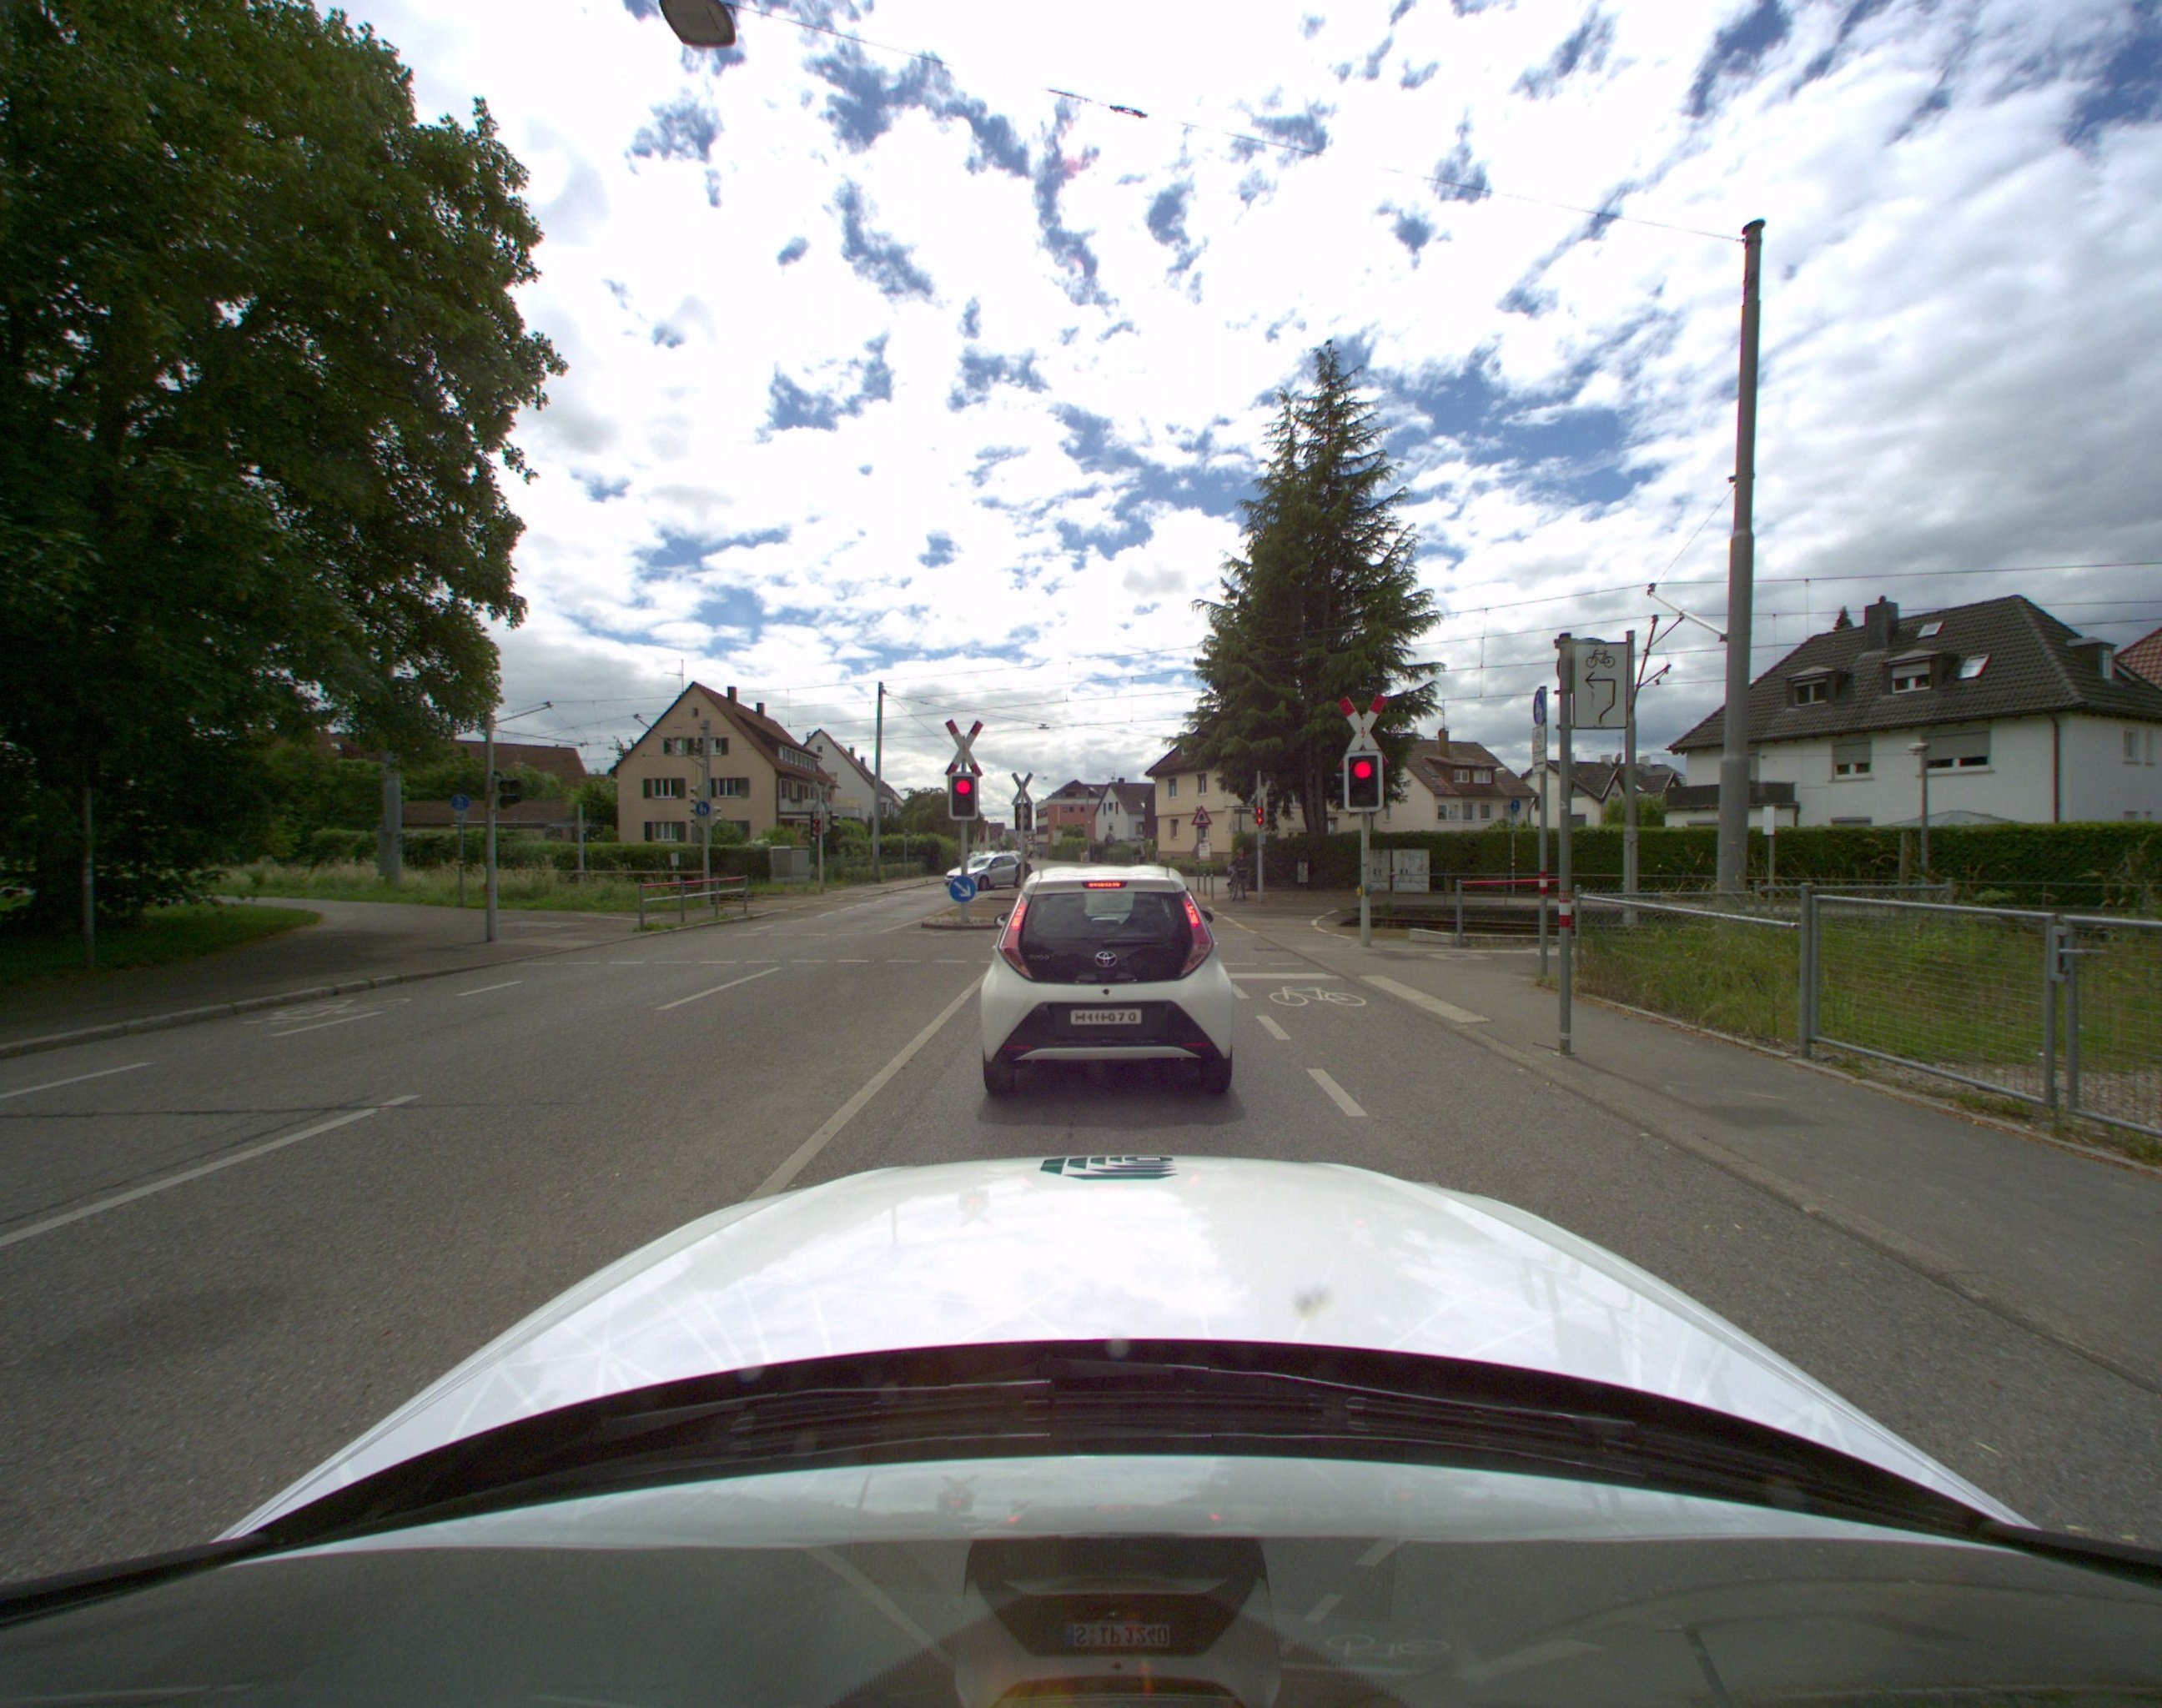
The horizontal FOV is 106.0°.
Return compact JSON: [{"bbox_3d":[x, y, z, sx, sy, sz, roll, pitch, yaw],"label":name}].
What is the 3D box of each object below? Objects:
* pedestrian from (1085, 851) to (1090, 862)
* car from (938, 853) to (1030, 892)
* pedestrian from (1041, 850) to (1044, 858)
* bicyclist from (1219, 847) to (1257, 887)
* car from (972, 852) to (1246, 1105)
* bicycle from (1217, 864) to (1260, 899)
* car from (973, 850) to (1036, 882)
[{"bbox_3d":[0.815,0.319,101.379,0.409,1.437,0.440,0,0,44],"label":"pedestrian"},{"bbox_3d":[-4.065,0.745,34.749,1.672,1.458,4.095,0,1,33],"label":"car"},{"bbox_3d":[-6.751,0.011,142.049,0.413,1.437,0.436,0,0,-9],"label":"pedestrian"},{"bbox_3d":[5.070,0.427,26.266,0.923,1.247,1.108,-2,0,23],"label":"bicyclist"},{"bbox_3d":[0.227,0.762,6.858,1.615,1.486,4.001,-1,-1,2],"label":"car"},{"bbox_3d":[5.118,0.875,26.354,0.923,1.040,1.925,-2,0,23],"label":"bicycle"},{"bbox_3d":[-3.801,0.597,40.837,1.560,1.510,2.804,0,-1,44],"label":"car"}]
